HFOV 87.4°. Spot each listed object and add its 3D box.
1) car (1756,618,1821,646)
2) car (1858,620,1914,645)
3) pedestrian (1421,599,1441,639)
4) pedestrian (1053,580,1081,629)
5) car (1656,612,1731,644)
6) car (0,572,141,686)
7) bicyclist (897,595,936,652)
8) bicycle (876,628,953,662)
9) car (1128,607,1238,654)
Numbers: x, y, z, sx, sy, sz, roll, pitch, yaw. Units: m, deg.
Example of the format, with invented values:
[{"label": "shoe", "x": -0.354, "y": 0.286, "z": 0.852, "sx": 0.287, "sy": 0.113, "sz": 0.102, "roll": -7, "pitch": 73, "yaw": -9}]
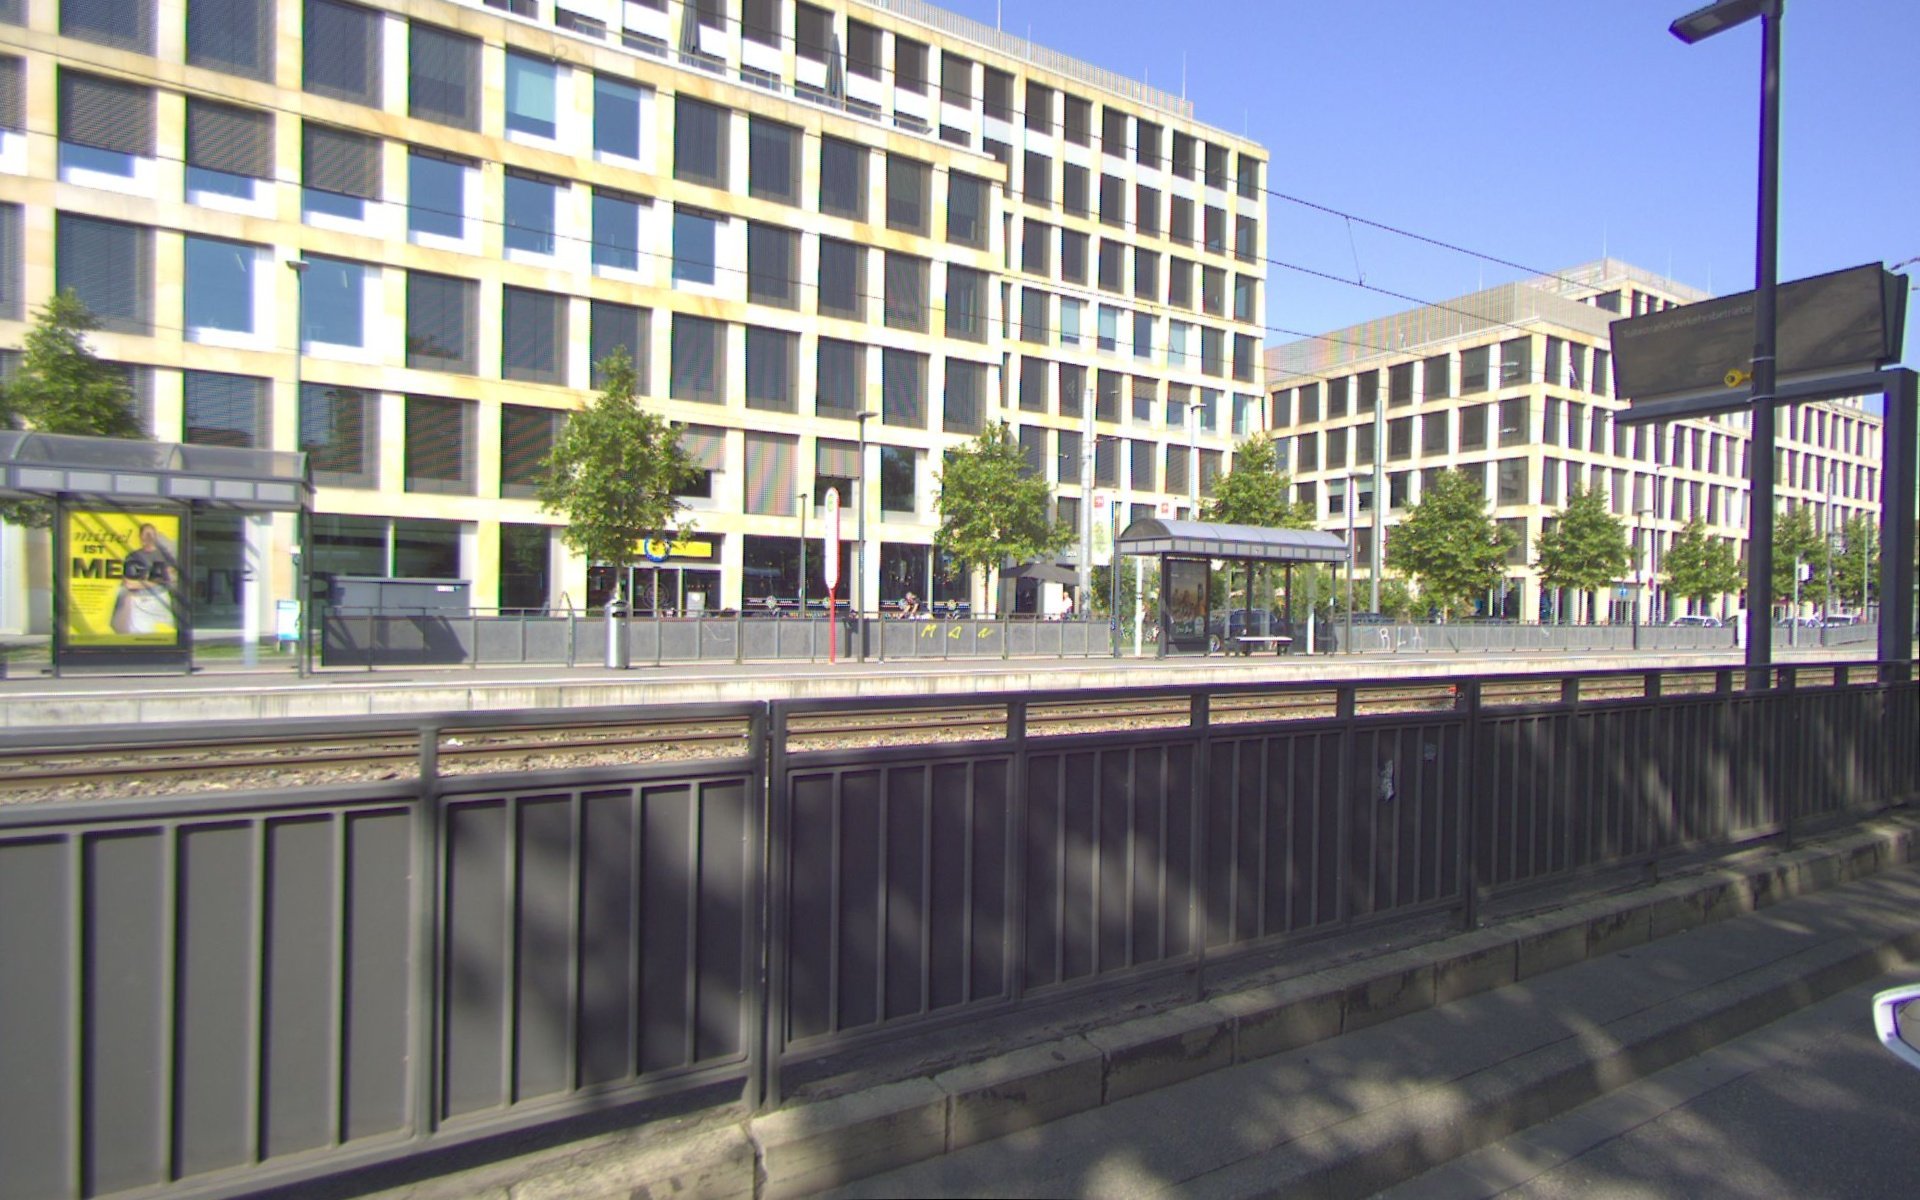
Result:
[{"label": "car", "x": 48.488, "y": 1.866, "z": 58.754, "sx": 4.087, "sy": 1.595, "sz": 1.754, "roll": 1, "pitch": -1, "yaw": -32}, {"label": "car", "x": 60.849, "y": 2.134, "z": 65.987, "sx": 4.087, "sy": 1.624, "sz": 1.754, "roll": 1, "pitch": -1, "yaw": -32}, {"label": "pedestrian", "x": 24.010, "y": 0.980, "z": 51.188, "sx": 0.813, "sy": 2.040, "sz": 0.560, "roll": 2, "pitch": -4, "yaw": -31}, {"label": "pedestrian", "x": 4.355, "y": 0.203, "z": 40.772, "sx": 0.830, "sy": 1.942, "sz": 0.787, "roll": 3, "pitch": -4, "yaw": -36}, {"label": "car", "x": 37.982, "y": 1.457, "z": 52.011, "sx": 4.087, "sy": 1.595, "sz": 1.754, "roll": 1, "pitch": -1, "yaw": -32}, {"label": "car", "x": -14.248, "y": 0.394, "z": 14.330, "sx": 3.715, "sy": 1.592, "sz": 1.654, "roll": 1, "pitch": 0, "yaw": -30}, {"label": "bicyclist", "x": -1.109, "y": 0.618, "z": 25.601, "sx": 0.775, "sy": 1.420, "sz": 0.626, "roll": 2, "pitch": -4, "yaw": -31}, {"label": "bicycle", "x": -1.151, "y": 1.147, "z": 25.553, "sx": 1.876, "sy": 0.832, "sz": 0.626, "roll": 3, "pitch": -4, "yaw": -32}, {"label": "car", "x": 7.298, "y": 0.978, "z": 32.837, "sx": 3.468, "sy": 1.447, "sz": 1.544, "roll": 1, "pitch": -1, "yaw": -33}]
